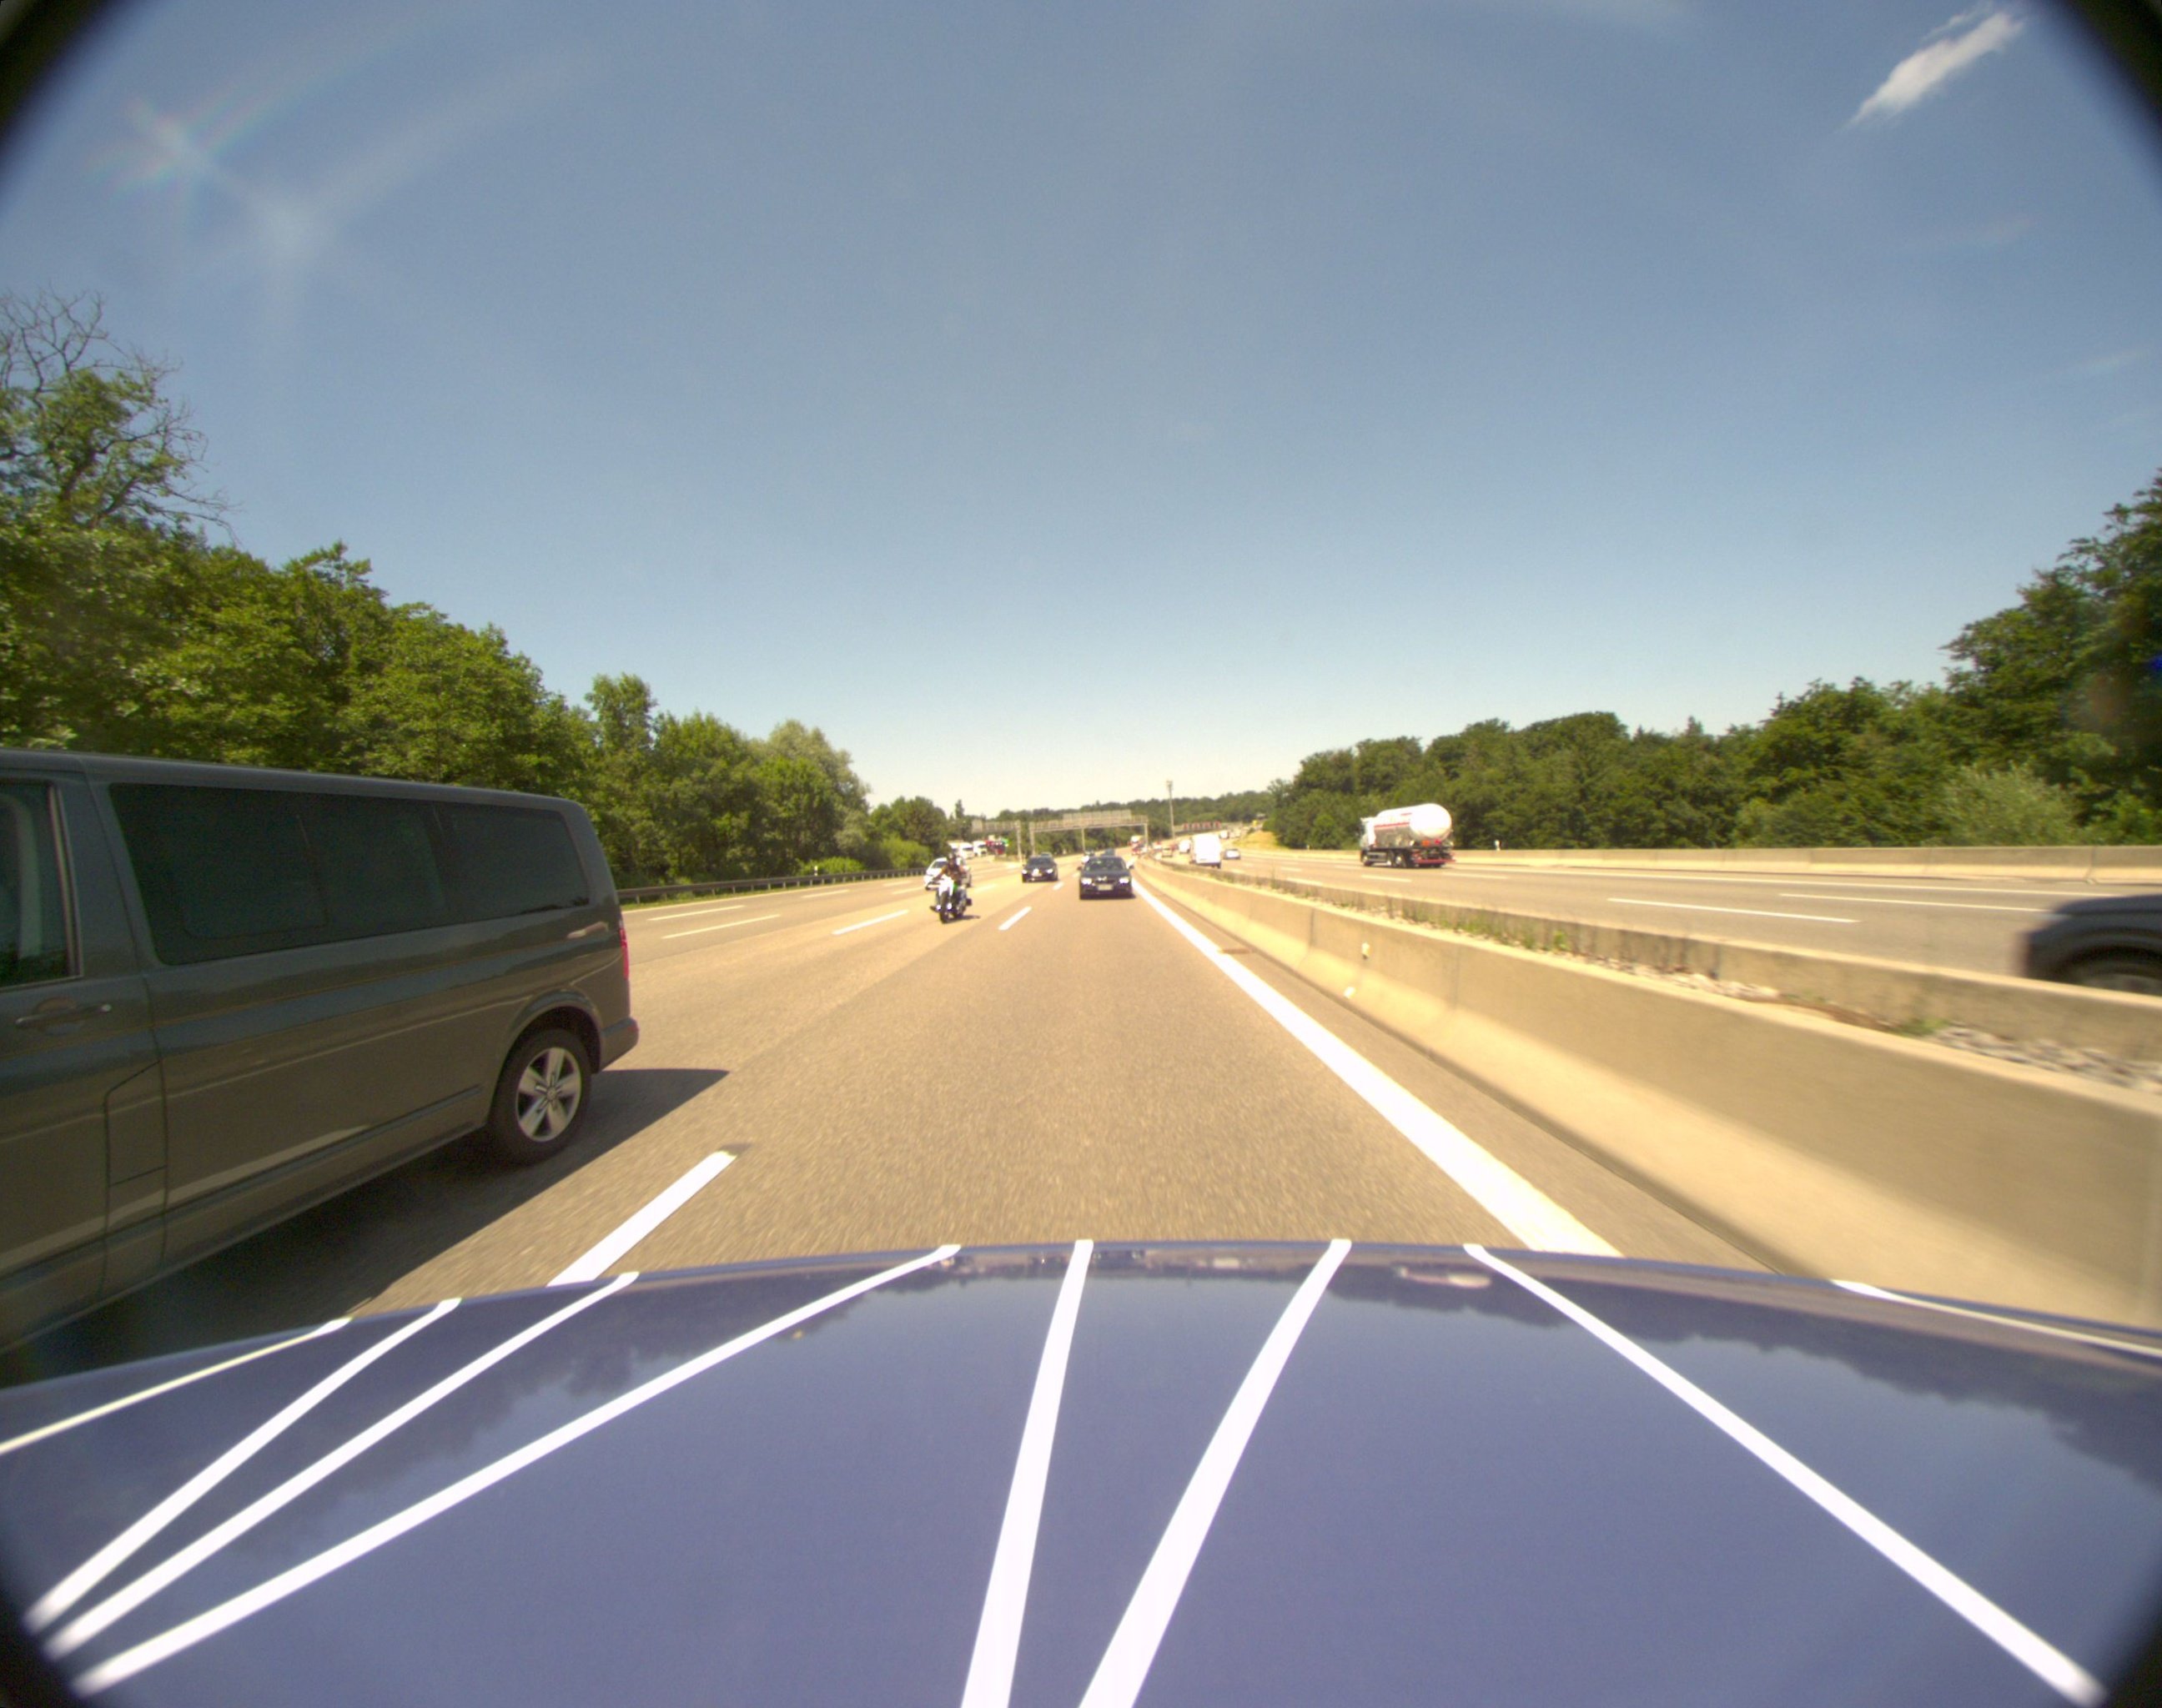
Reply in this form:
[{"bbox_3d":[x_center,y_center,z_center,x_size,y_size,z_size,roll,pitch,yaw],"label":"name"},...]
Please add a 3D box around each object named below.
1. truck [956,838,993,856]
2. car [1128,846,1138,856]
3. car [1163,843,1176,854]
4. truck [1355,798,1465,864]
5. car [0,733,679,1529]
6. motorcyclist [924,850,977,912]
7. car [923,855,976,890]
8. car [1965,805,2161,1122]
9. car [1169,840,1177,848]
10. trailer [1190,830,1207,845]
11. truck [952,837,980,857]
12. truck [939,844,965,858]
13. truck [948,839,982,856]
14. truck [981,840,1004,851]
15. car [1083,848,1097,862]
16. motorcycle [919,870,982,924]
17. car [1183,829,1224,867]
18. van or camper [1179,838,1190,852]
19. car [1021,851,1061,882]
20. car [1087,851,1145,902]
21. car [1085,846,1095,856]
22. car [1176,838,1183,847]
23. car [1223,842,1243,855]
[{"bbox_3d":[-29.207,-1.930,207.374,2.836,4.434,14.603,-3,1,-39],"label":"truck"},{"bbox_3d":[11.463,-0.610,166.442,1.998,2.002,4.000,-3,1,3],"label":"car"},{"bbox_3d":[15.032,-0.977,128.972,1.823,1.860,4.589,-2,1,2],"label":"car"},{"bbox_3d":[19.735,-1.357,46.412,2.616,3.446,9.881,-3,1,2],"label":"truck"},{"bbox_3d":[-3.746,0.730,2.525,1.968,2.022,5.083,-2,0,1],"label":"car"},{"bbox_3d":[-3.146,0.647,18.396,0.854,1.419,1.024,-1,2,15],"label":"motorcyclist"},{"bbox_3d":[-6.348,0.870,37.133,1.754,1.510,4.483,-2,0,0],"label":"car"},{"bbox_3d":[6.745,0.566,2.460,1.998,1.695,4.952,-2,0,0],"label":"car"},{"bbox_3d":[24.442,-2.676,202.596,1.910,1.971,4.641,-3,2,5],"label":"car"},{"bbox_3d":[34.754,-4.890,224.665,3.844,4.256,14.478,-3,1,5],"label":"trailer"},{"bbox_3d":[-28.103,-1.730,186.058,3.271,4.699,7.169,-6,4,-39],"label":"truck"},{"bbox_3d":[-30.419,-0.780,178.939,2.457,3.108,9.004,-5,3,-33],"label":"truck"},{"bbox_3d":[-30.677,-1.666,200.767,2.836,4.436,12.028,-6,4,-40],"label":"truck"},{"bbox_3d":[-25.500,-2.300,218.410,2.003,2.934,8.724,-6,3,-39],"label":"truck"},{"bbox_3d":[1.189,0.131,99.325,1.729,1.522,3.740,2,3,1],"label":"car"},{"bbox_3d":[-3.131,1.012,18.510,0.536,1.129,2.439,-1,1,15],"label":"motorcycle"},{"bbox_3d":[9.450,-0.418,59.049,2.102,2.673,6.309,-3,0,1],"label":"car"},{"bbox_3d":[21.393,-1.861,157.083,1.998,2.783,7.417,-2,0,6],"label":"van or camper"},{"bbox_3d":[-2.226,0.672,43.103,1.760,1.431,3.999,-2,2,4],"label":"car"},{"bbox_3d":[1.198,0.697,25.925,1.769,1.496,4.000,-3,0,3],"label":"car"},{"bbox_3d":[2.097,-0.652,173.225,1.998,2.003,3.998,-3,3,2],"label":"car"},{"bbox_3d":[28.959,-3.377,223.796,1.998,2.289,4.592,-3,3,6],"label":"car"},{"bbox_3d":[18.998,-0.708,95.270,1.767,1.474,4.494,-3,1,4],"label":"car"}]
